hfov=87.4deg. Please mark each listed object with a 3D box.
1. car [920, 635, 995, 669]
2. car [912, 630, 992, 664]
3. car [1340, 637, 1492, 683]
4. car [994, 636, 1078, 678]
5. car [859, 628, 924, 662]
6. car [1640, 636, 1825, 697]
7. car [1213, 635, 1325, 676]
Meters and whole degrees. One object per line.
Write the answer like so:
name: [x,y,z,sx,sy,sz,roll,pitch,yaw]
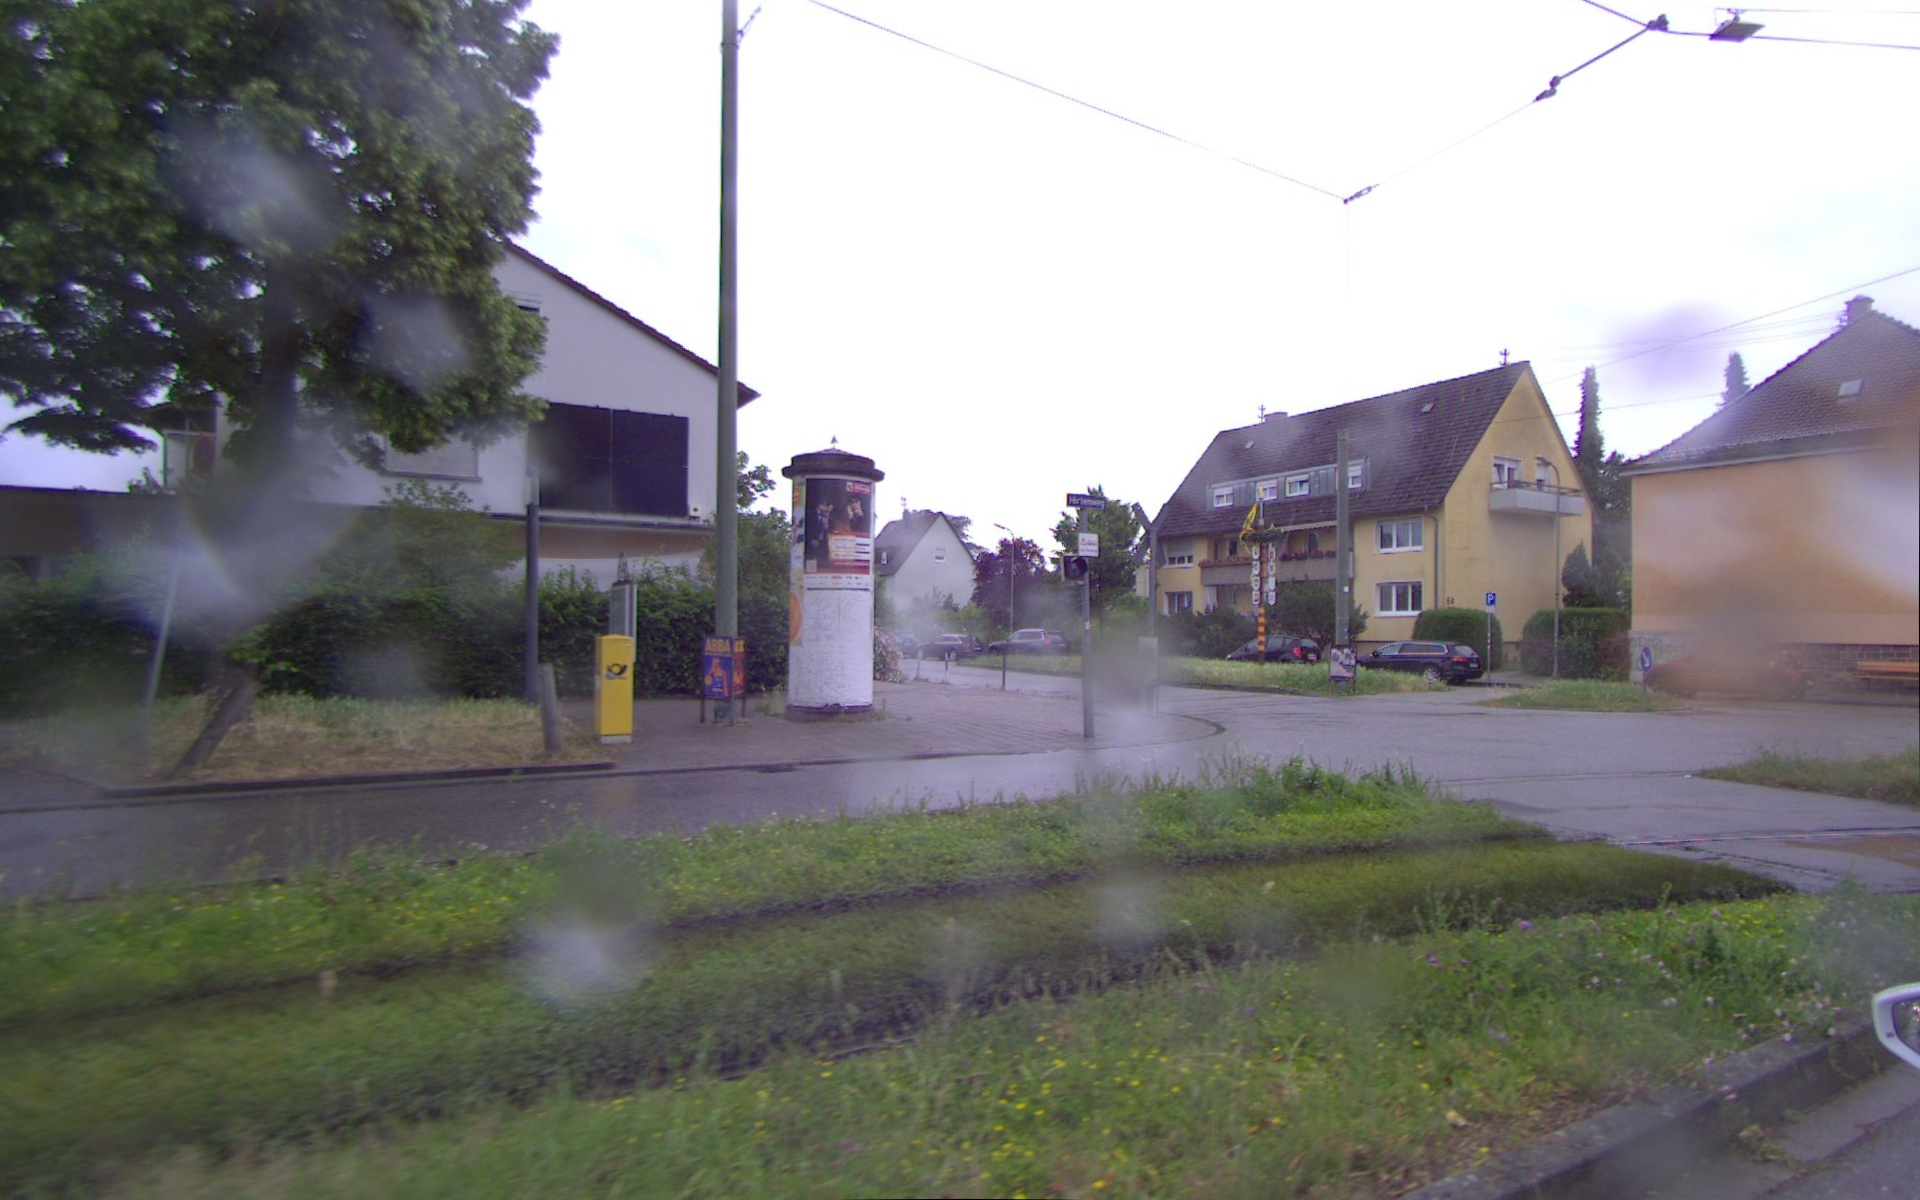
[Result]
car: [-0.154,2.797,54.761,1.983,1.595,4.080,1,0,-39]
car: [-0.430,2.159,46.799,1.978,1.495,3.965,1,-2,-32]
car: [15.576,2.013,34.560,1.946,1.414,4.465,1,-2,-33]
car: [3.747,2.795,50.027,1.982,1.818,3.956,1,0,-38]
car: [-4.094,2.628,59.369,1.982,1.818,3.957,1,0,-38]
car: [20.654,1.733,26.990,1.705,1.357,3.583,1,0,-33]
car: [11.973,2.118,39.146,1.741,1.350,3.962,1,0,-34]
